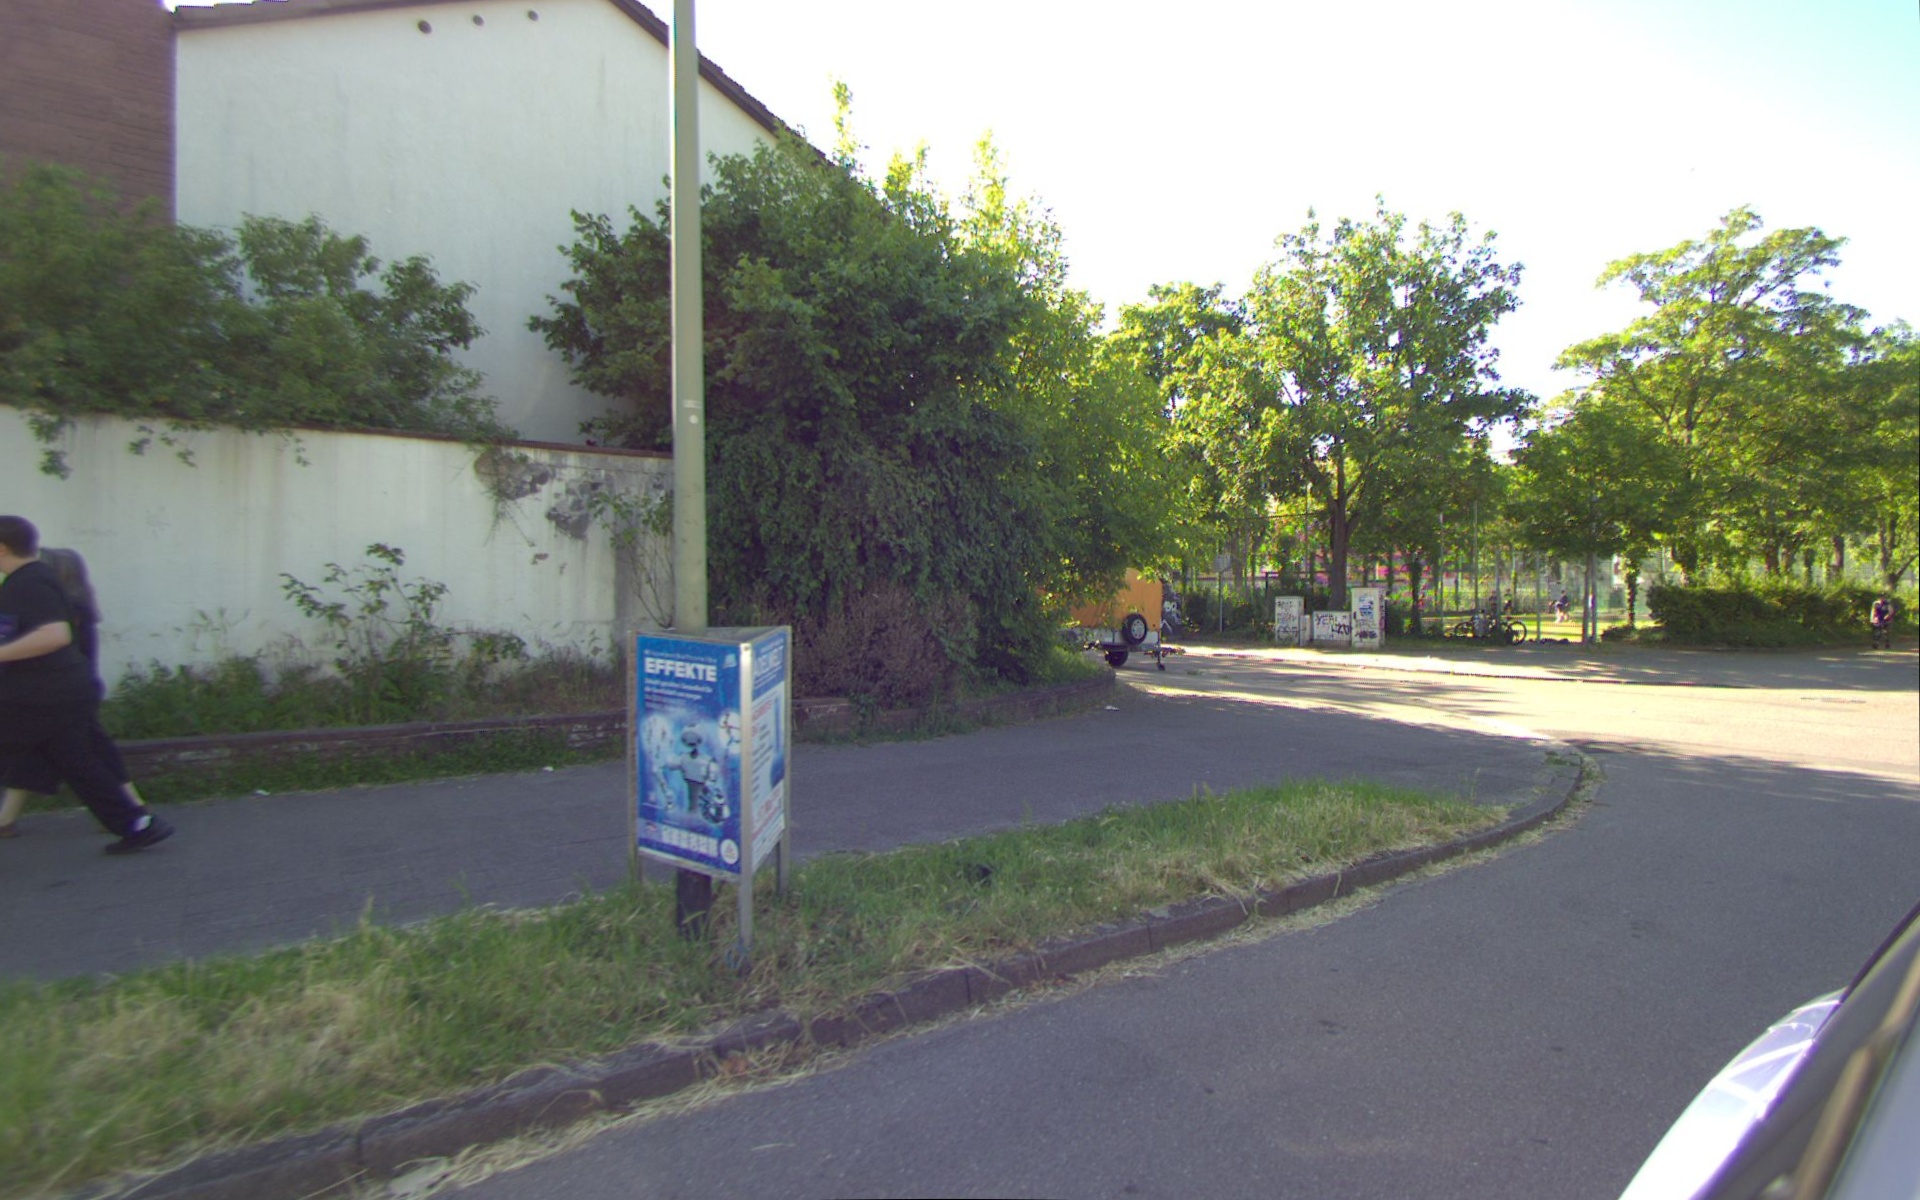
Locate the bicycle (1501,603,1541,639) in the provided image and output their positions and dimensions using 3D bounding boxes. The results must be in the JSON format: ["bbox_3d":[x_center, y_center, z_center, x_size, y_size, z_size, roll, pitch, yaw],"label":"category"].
[{"bbox_3d":[15.420,0.564,27.825,0.891,0.970,0.294,0,0,7],"label":"bicycle"}]

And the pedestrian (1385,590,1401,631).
[{"bbox_3d":[16.693,0.402,39.036,0.422,1.555,0.436,1,0,-40],"label":"pedestrian"}]

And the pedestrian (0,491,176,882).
[{"bbox_3d":[-4.423,0.369,4.886,0.966,1.738,0.806,-1,2,-39],"label":"pedestrian"}]

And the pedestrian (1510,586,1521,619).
[{"bbox_3d":[26.379,0.096,48.066,0.394,1.555,0.317,1,0,-40],"label":"pedestrian"}]

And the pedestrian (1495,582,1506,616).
[{"bbox_3d":[24.539,-0.037,45.958,0.386,1.555,0.320,1,0,-40],"label":"pedestrian"}]

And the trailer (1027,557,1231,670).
[{"bbox_3d":[3.494,0.237,21.520,1.941,2.146,4.074,1,0,-36],"label":"trailer"}]

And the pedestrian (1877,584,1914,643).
[{"bbox_3d":[26.690,0.374,28.879,0.629,1.659,0.642,0,0,-33],"label":"pedestrian"}]

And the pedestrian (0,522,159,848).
[{"bbox_3d":[-4.791,0.410,5.402,0.778,1.629,0.574,-1,2,-39],"label":"pedestrian"}]
